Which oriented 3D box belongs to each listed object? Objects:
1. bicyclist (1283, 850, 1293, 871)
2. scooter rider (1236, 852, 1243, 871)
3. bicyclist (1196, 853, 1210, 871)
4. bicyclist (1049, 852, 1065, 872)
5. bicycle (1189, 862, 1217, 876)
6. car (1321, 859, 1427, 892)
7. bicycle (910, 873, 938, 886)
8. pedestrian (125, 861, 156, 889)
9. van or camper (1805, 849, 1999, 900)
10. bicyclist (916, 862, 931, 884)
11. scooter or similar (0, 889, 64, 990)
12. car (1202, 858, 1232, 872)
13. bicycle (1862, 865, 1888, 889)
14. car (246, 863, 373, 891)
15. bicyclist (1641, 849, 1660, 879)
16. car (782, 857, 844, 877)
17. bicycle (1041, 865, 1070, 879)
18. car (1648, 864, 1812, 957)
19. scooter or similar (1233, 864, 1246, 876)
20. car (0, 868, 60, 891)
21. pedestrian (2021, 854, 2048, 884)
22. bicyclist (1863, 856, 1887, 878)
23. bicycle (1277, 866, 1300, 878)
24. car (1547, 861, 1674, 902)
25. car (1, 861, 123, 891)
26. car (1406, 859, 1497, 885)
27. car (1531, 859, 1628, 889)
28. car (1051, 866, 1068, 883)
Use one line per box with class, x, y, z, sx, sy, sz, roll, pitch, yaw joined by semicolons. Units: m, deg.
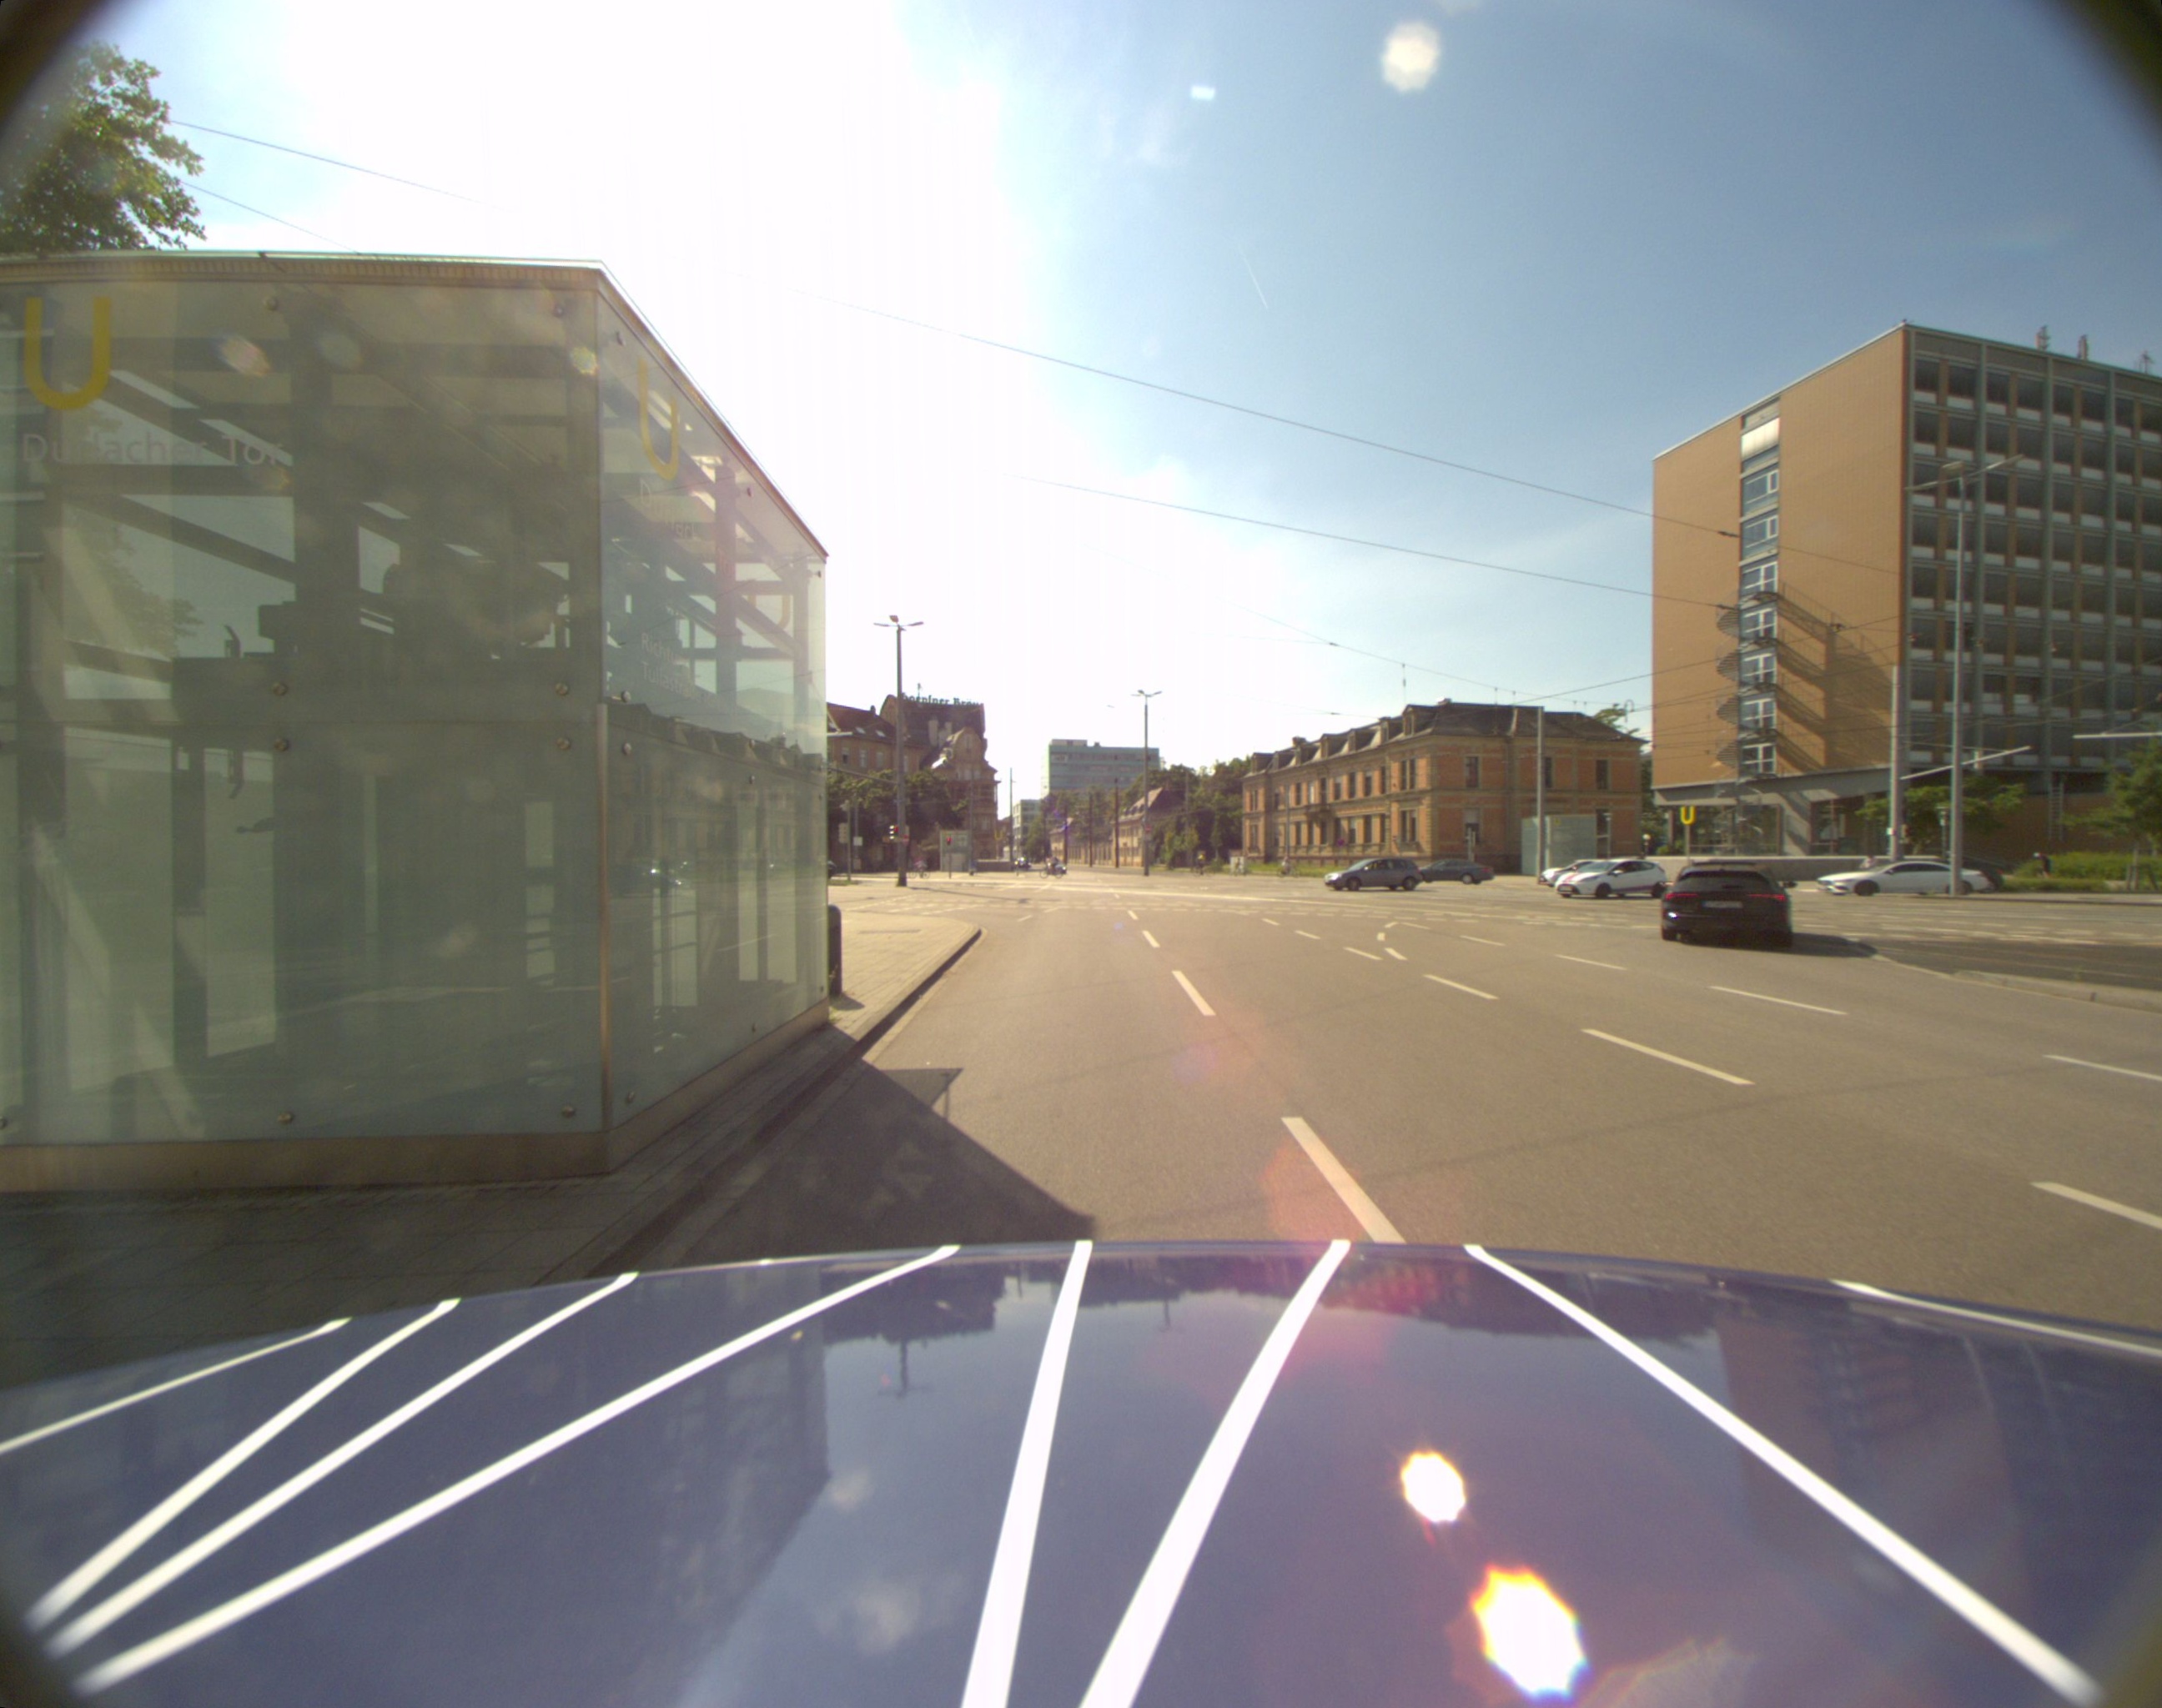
bicyclist;15.348;0.485;56.362;0.648;1.611;0.503;0;-1;23
scooter rider;12.370;0.589;59.255;0.406;1.388;0.589;-1;-2;18
bicyclist;9.577;0.647;59.462;0.907;1.411;0.686;-1;-2;28
bicyclist;-1.806;0.605;57.004;0.951;1.478;0.715;1;-2;-28
bicycle;9.568;1.213;59.446;2.020;1.062;0.686;-1;-2;28
car;13.099;0.931;34.136;4.118;1.416;1.651;0;0;-2
bicycle;-12.141;1.968;58.718;2.015;1.010;0.717;0;3;26
pedestrian;-53.565;1.197;43.286;0.533;1.570;0.958;-1;-2;15
van or camper;32.356;0.782;30.160;4.911;1.876;1.923;0;0;20
bicyclist;-12.153;1.460;58.687;0.872;1.660;0.717;0;3;26
scooter or similar;-12.625;0.986;8.533;0.516;1.113;1.367;0;0;28
car;13.558;1.112;75.808;1.673;1.305;3.447;0;0;-15
bicycle;39.056;1.122;37.381;1.922;1.009;0.714;-3;2;-38
car;-41.956;1.249;41.445;1.440;1.427;4.610;-1;-2;32
bicyclist;31.945;0.557;42.639;0.780;1.615;0.670;0;2;42
car;-19.870;0.950;56.364;4.766;1.427;1.639;0;1;30
bicycle;-1.904;1.327;56.933;2.024;1.009;0.715;1;-2;-28
car;12.207;0.945;14.589;1.755;1.447;4.432;1;0;32
scooter or similar;12.363;1.243;59.236;0.990;0.970;0.589;-1;-2;18
car;-55.663;1.336;39.457;3.992;1.187;1.839;-1;-2;17
pedestrian;52.944;0.845;42.183;0.730;1.655;0.594;-1;2;18
bicyclist;39.056;0.616;37.378;0.918;1.023;0.714;-3;3;-38
bicycle;15.352;1.312;56.336;1.583;0.860;0.503;0;-1;23
car;19.278;0.960;27.714;3.864;1.406;1.654;0;0;-13
car;-56.483;1.200;42.169;3.998;1.608;1.825;0;-2;-4
car;21.668;1.014;44.553;4.515;1.427;1.639;0;0;42
car;25.075;0.978;38.321;3.753;1.466;1.684;0;0;13
car;-2.128;1.999;74.277;1.637;1.574;4.001;0;-2;-2
